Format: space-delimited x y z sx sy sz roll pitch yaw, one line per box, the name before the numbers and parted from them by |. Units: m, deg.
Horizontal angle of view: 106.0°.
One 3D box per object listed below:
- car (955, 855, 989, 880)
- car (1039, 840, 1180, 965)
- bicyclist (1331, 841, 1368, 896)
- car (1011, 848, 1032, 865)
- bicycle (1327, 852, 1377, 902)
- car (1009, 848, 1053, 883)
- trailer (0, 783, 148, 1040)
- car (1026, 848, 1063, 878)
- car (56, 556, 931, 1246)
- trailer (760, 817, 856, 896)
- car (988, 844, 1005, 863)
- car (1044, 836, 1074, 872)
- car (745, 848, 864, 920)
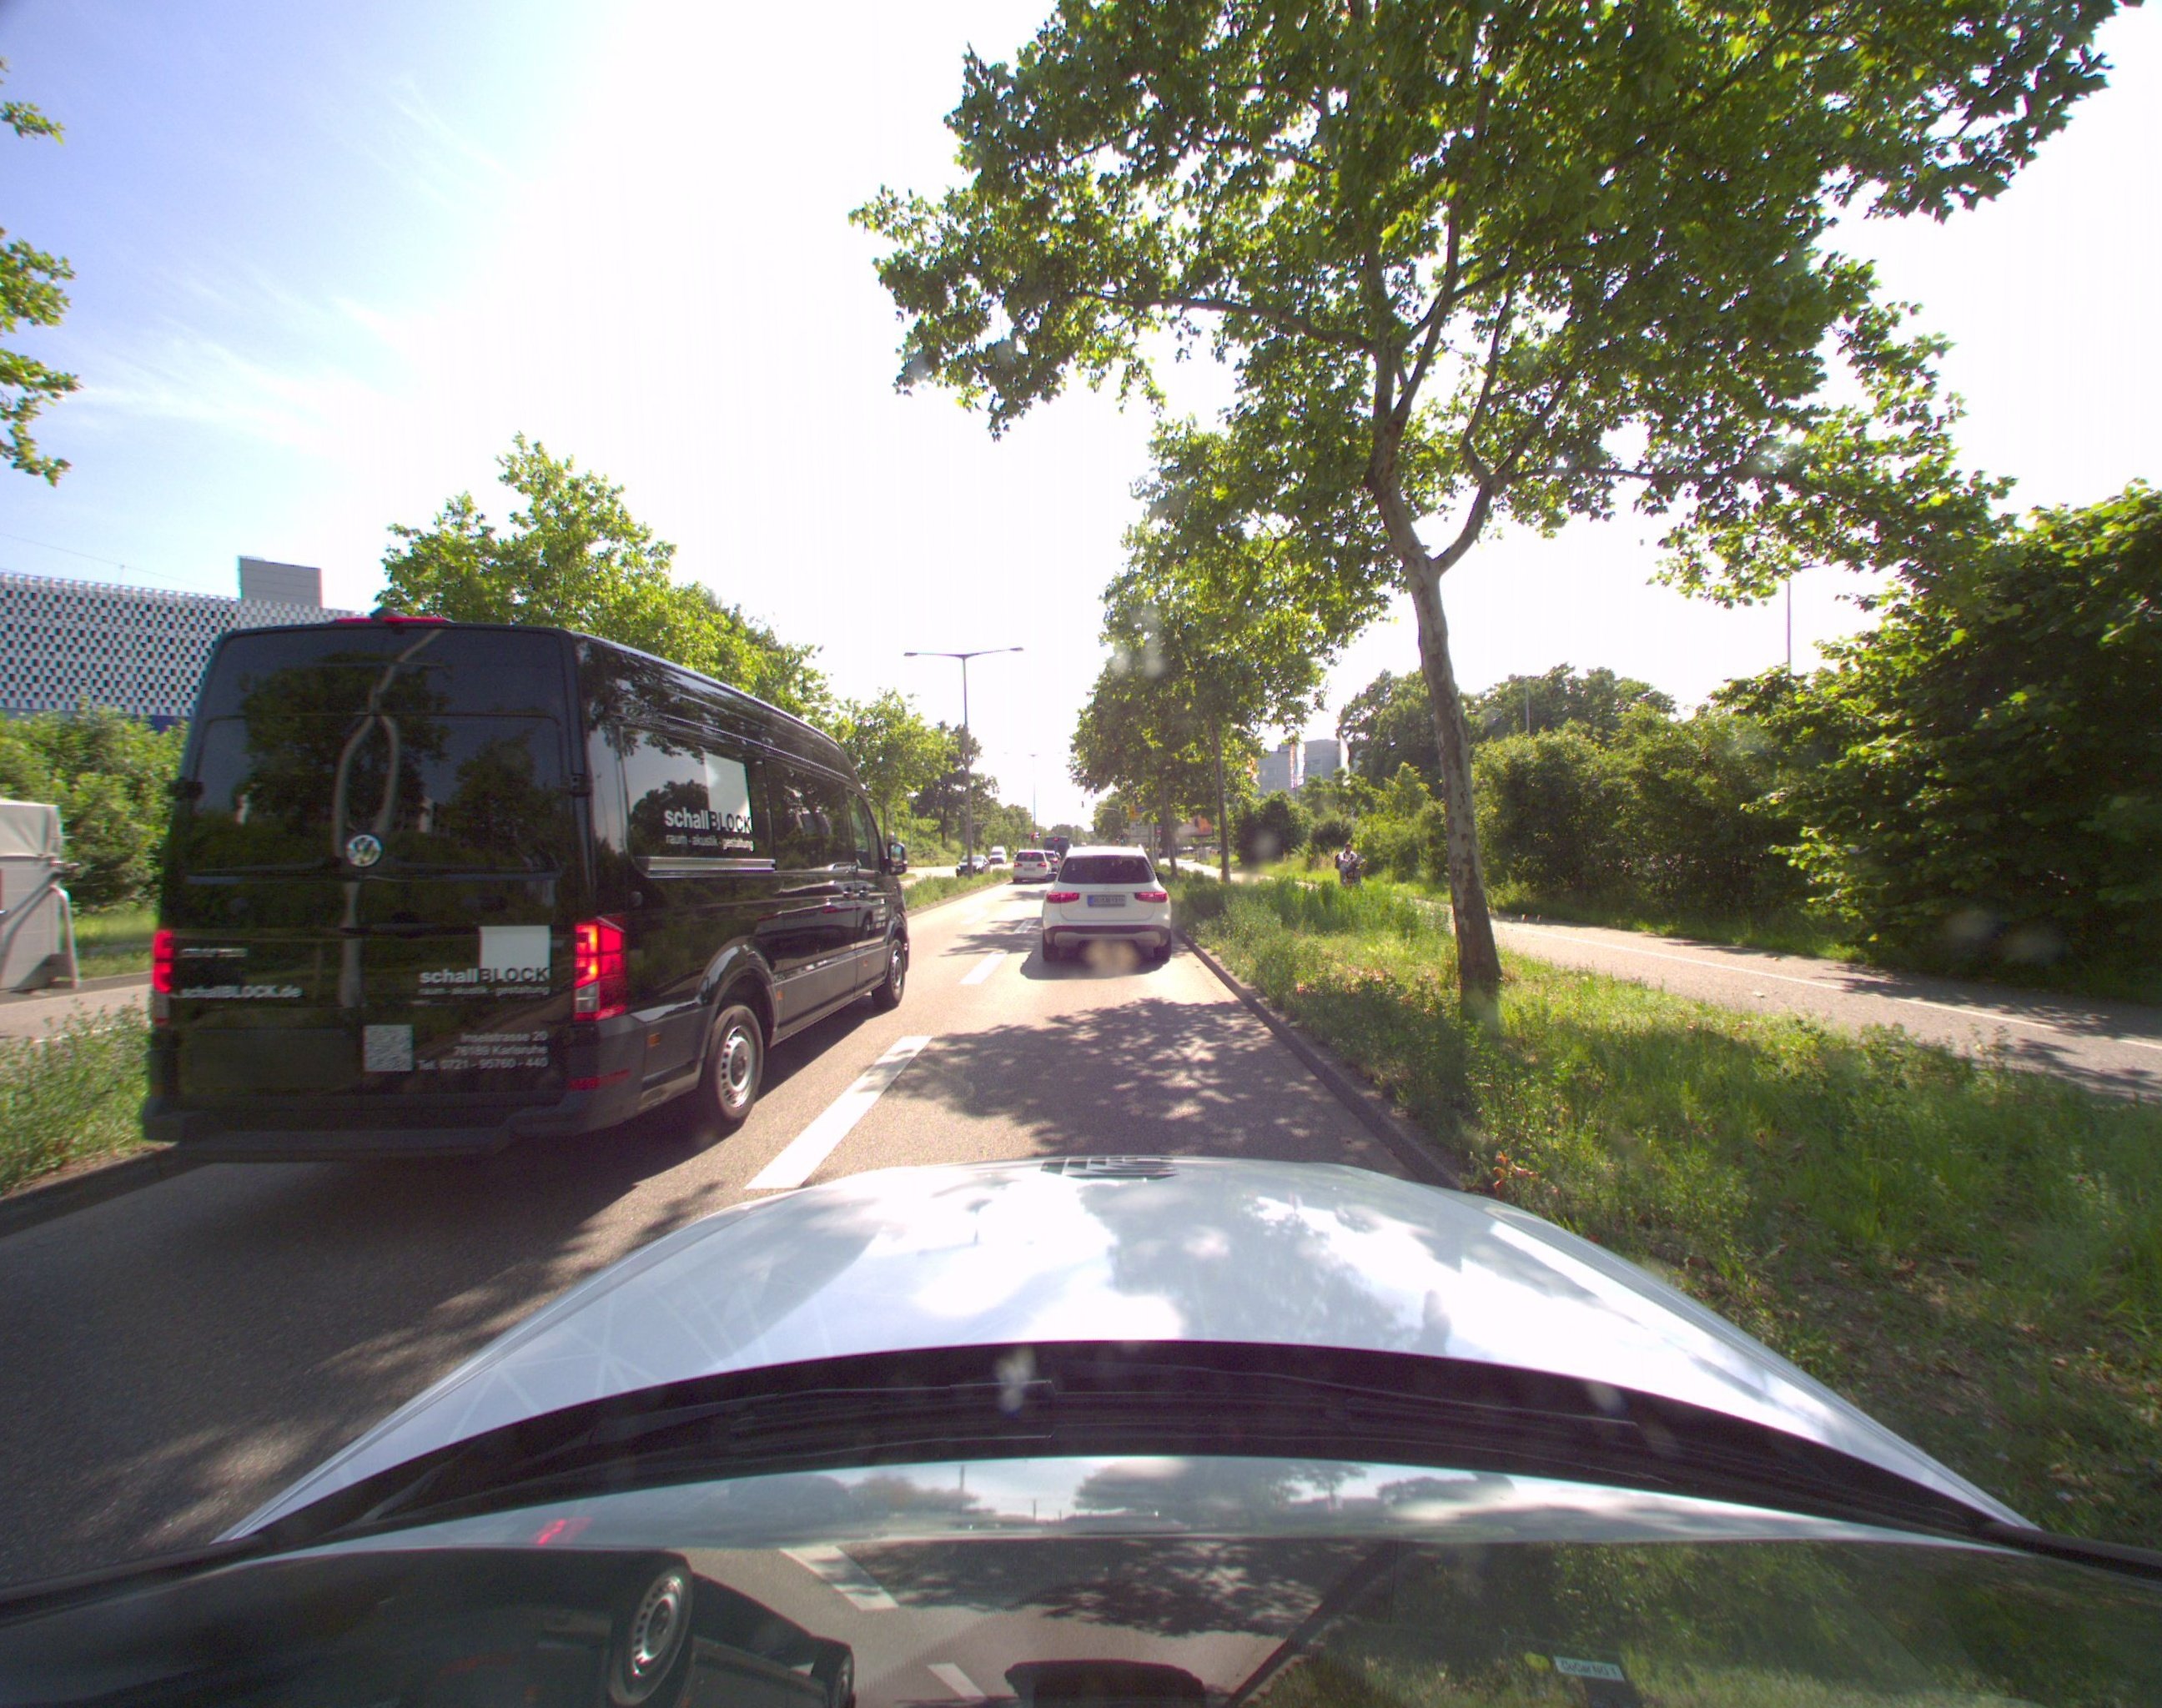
car | -6.931 0.839 52.094 1.597 1.472 3.791 -1 0 2
car | 0.281 0.641 12.846 1.849 1.607 3.995 -1 0 -3
bicyclist | 7.436 0.395 22.611 0.701 1.477 1.010 0 0 2
car | -6.600 0.303 90.830 1.987 1.882 4.000 0 0 1
bicycle | 7.411 0.611 22.341 0.720 1.299 2.096 0 0 2
car | -2.452 0.539 40.935 1.765 1.647 4.354 -1 0 2
trailer | -10.744 0.523 5.536 2.300 2.265 5.540 -1 0 2
car | -2.046 0.501 46.791 1.765 1.647 4.086 -1 0 2
car | -2.800 0.181 6.172 2.008 2.607 6.170 0 0 2
trailer | -10.230 0.097 30.973 1.873 2.744 4.830 0 0 2
car | -11.191 -0.082 108.064 1.990 2.418 5.132 -1 0 -4
car | -1.663 -0.011 62.914 2.074 2.656 4.876 0 0 2
car | -7.544 0.757 22.649 1.724 1.809 4.234 0 0 2
